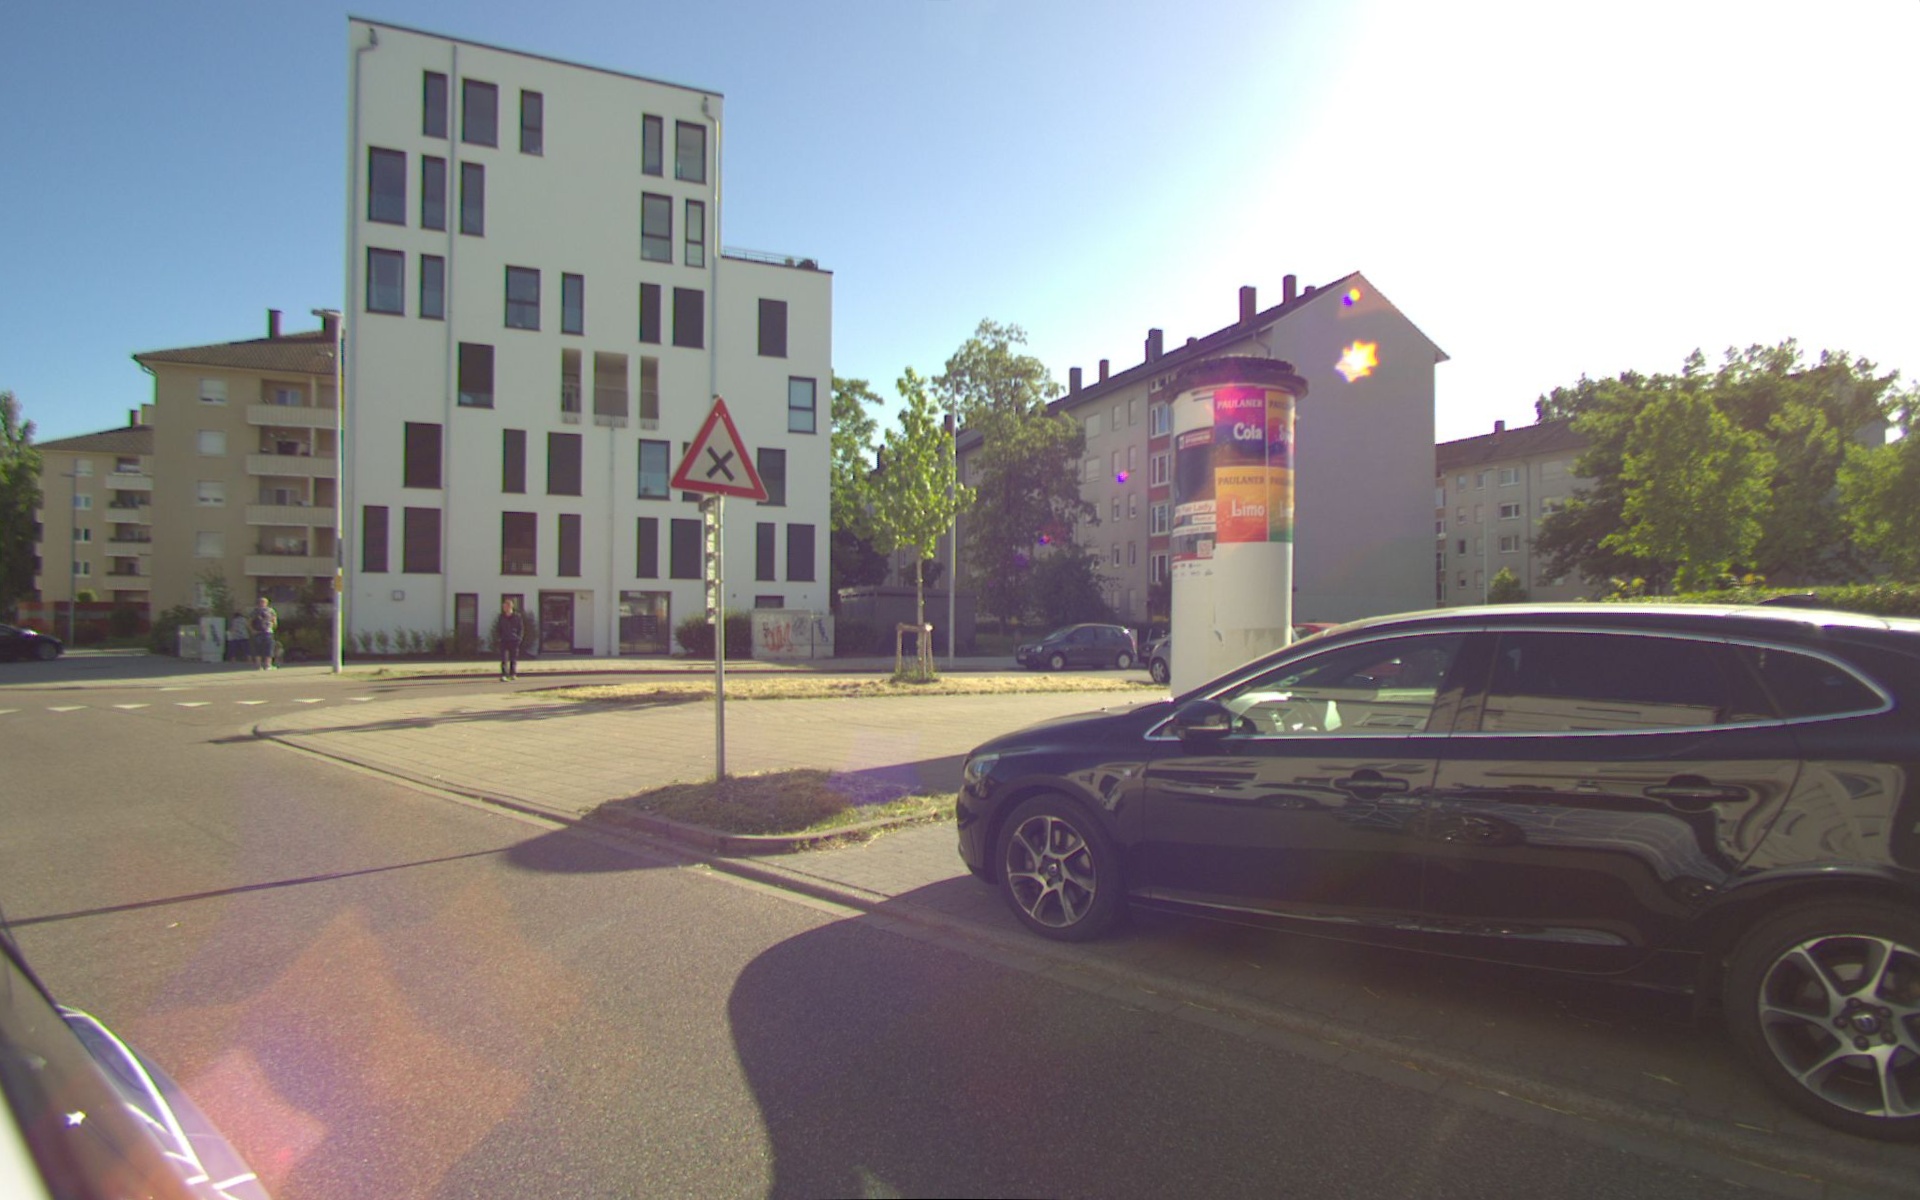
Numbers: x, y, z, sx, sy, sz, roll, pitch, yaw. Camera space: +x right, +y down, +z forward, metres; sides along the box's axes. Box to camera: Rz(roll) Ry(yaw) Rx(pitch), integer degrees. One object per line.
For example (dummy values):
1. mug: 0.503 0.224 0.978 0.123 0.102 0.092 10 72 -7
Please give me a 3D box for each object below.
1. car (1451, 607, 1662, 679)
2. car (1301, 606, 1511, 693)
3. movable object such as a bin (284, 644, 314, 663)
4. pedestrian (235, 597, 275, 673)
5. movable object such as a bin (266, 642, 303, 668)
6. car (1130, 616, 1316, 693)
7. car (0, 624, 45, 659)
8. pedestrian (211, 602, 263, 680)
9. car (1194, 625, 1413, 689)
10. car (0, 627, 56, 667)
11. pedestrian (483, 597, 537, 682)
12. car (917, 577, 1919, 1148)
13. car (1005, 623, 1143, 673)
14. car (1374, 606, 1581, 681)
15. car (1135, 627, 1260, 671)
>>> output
1. car: 15.240 1.120 26.148 1.965 1.712 4.307 2 -3 -25
2. car: 10.440 1.089 24.058 1.965 1.778 4.307 2 0 -25
3. movable object such as a bin: -19.071 1.548 29.195 0.676 0.546 0.272 1 -1 -2
4. pedestrian: -18.010 0.876 25.883 0.778 1.899 0.849 2 0 -33
5. movable object such as a bin: -18.249 1.483 27.347 0.839 0.685 0.272 1 -1 8
6. car: 5.682 1.140 22.406 1.698 1.503 4.115 2 -1 -26
7. car: -33.398 1.422 33.355 1.979 1.176 4.547 -1 0 12
8. pedestrian: -20.193 1.135 28.271 0.951 2.137 0.770 -1 -1 20
9. car: 7.606 1.248 22.998 1.699 1.284 4.901 2 -2 -27
10. car: -35.320 1.681 35.909 1.979 1.442 4.546 -1 -2 12
11. pedestrian: -9.396 0.814 21.120 0.962 1.727 0.876 1 -2 -27
12. car: 1.975 0.681 4.034 4.220 1.421 1.771 -1 -1 40
13. car: 3.558 1.473 31.516 3.930 1.431 1.678 2 0 -25
14. car: 12.893 1.109 25.534 1.965 1.712 4.307 2 -3 -25
15. car: 7.844 1.576 33.381 3.930 1.386 1.415 1 -2 -24
